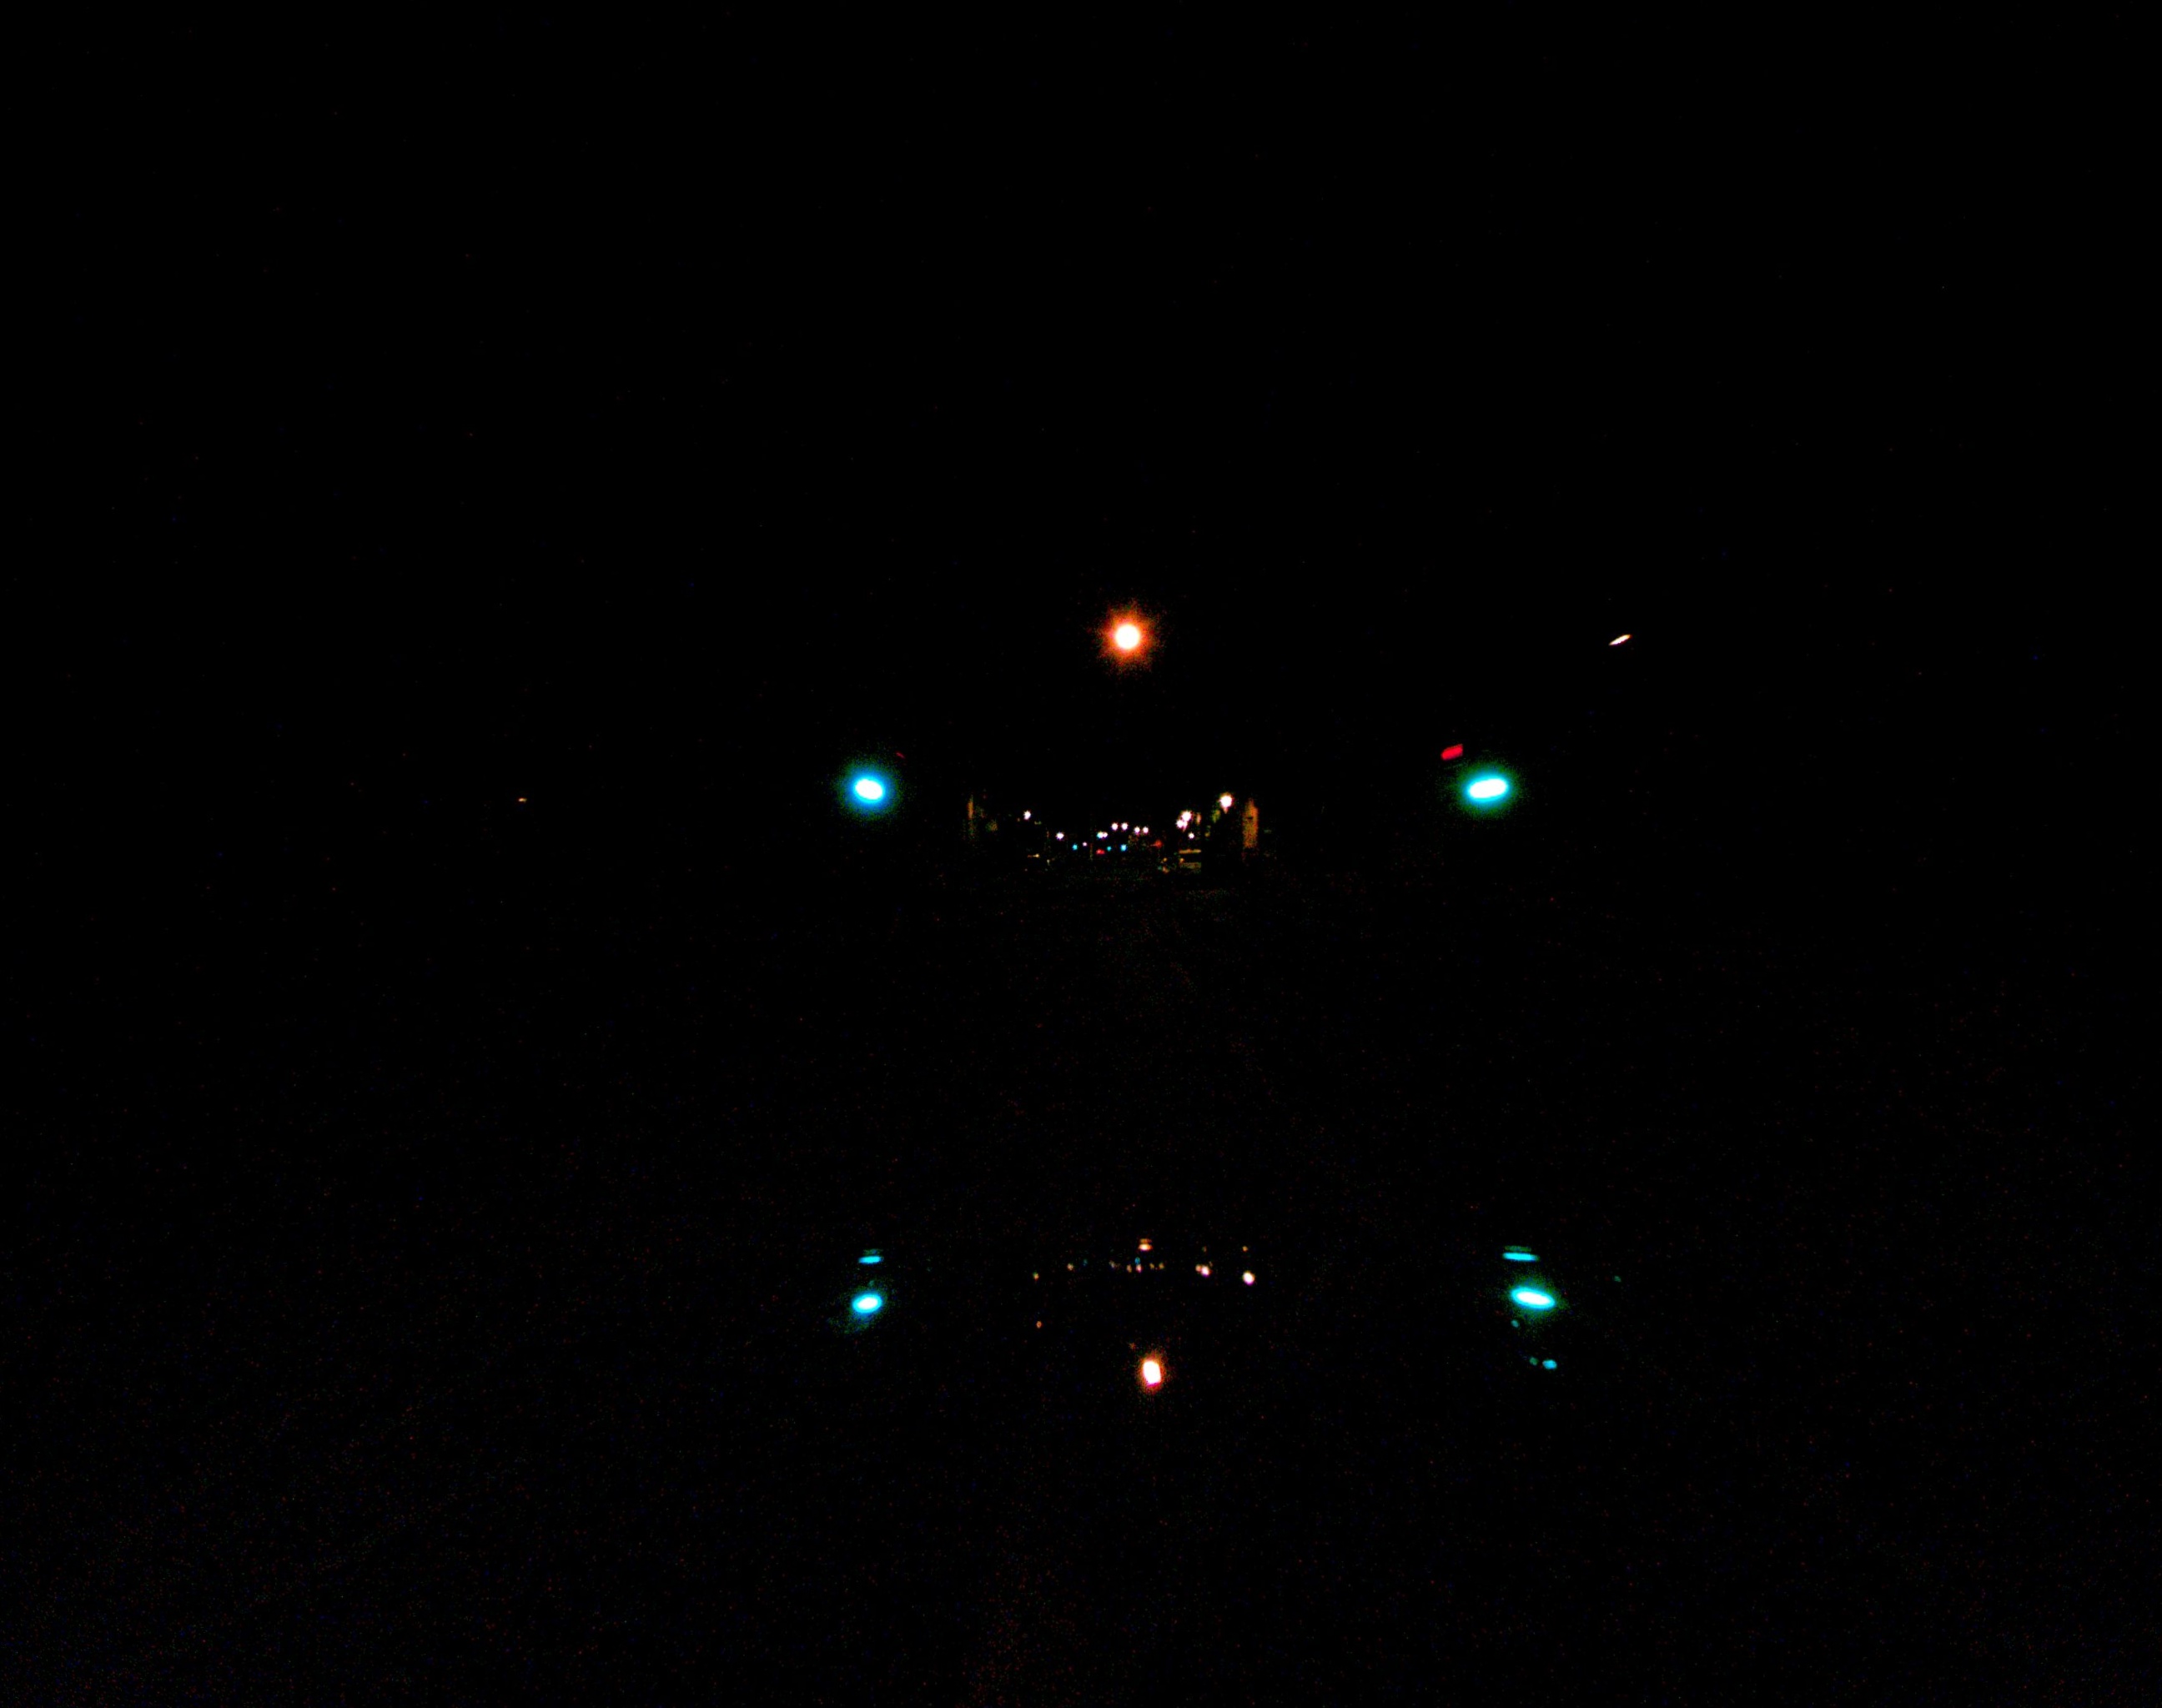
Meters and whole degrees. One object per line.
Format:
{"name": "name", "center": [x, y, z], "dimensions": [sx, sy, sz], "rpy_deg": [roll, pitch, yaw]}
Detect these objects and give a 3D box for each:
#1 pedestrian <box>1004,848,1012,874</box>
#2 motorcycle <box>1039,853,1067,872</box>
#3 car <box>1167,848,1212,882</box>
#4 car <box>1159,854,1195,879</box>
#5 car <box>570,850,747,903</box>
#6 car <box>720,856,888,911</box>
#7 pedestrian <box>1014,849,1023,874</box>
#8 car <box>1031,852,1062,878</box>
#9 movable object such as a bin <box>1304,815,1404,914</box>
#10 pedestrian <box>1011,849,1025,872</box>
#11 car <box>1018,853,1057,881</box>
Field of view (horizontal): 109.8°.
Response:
{"name": "pedestrian", "center": [-4.887, 0.472, 50.750], "dimensions": [0.477, 1.699, 0.571], "rpy_deg": [0, 1, 2]}
{"name": "motorcycle", "center": [-2.054, 0.633, 56.385], "dimensions": [1.948, 1.345, 0.761], "rpy_deg": [0, 1, -34]}
{"name": "car", "center": [6.080, 0.563, 43.109], "dimensions": [1.887, 1.832, 4.814], "rpy_deg": [0, 1, 0]}
{"name": "car", "center": [6.086, 0.758, 48.749], "dimensions": [1.843, 1.441, 4.881], "rpy_deg": [-1, 1, 2]}
{"name": "car", "center": [-12.439, 0.645, 22.575], "dimensions": [4.203, 1.459, 1.851], "rpy_deg": [1, 1, -2]}
{"name": "car", "center": [-7.709, 0.796, 21.440], "dimensions": [4.024, 1.414, 1.851], "rpy_deg": [0, 2, -1]}
{"name": "pedestrian", "center": [-4.146, 0.490, 50.784], "dimensions": [0.508, 1.699, 0.705], "rpy_deg": [0, 1, 2]}
{"name": "car", "center": [-2.151, 0.647, 48.252], "dimensions": [1.737, 1.492, 4.466], "rpy_deg": [2, 0, 0]}
{"name": "movable object such as a bin", "center": [7.834, 0.253, 22.136], "dimensions": [1.575, 2.611, 3.910], "rpy_deg": [1, 1, 2]}
{"name": "pedestrian", "center": [-4.388, 0.441, 53.051], "dimensions": [0.809, 1.622, 0.966], "rpy_deg": [-1, 1, 2]}
{"name": "car", "center": [-2.424, 0.691, 43.062], "dimensions": [1.740, 1.446, 4.000], "rpy_deg": [0, 1, 3]}
